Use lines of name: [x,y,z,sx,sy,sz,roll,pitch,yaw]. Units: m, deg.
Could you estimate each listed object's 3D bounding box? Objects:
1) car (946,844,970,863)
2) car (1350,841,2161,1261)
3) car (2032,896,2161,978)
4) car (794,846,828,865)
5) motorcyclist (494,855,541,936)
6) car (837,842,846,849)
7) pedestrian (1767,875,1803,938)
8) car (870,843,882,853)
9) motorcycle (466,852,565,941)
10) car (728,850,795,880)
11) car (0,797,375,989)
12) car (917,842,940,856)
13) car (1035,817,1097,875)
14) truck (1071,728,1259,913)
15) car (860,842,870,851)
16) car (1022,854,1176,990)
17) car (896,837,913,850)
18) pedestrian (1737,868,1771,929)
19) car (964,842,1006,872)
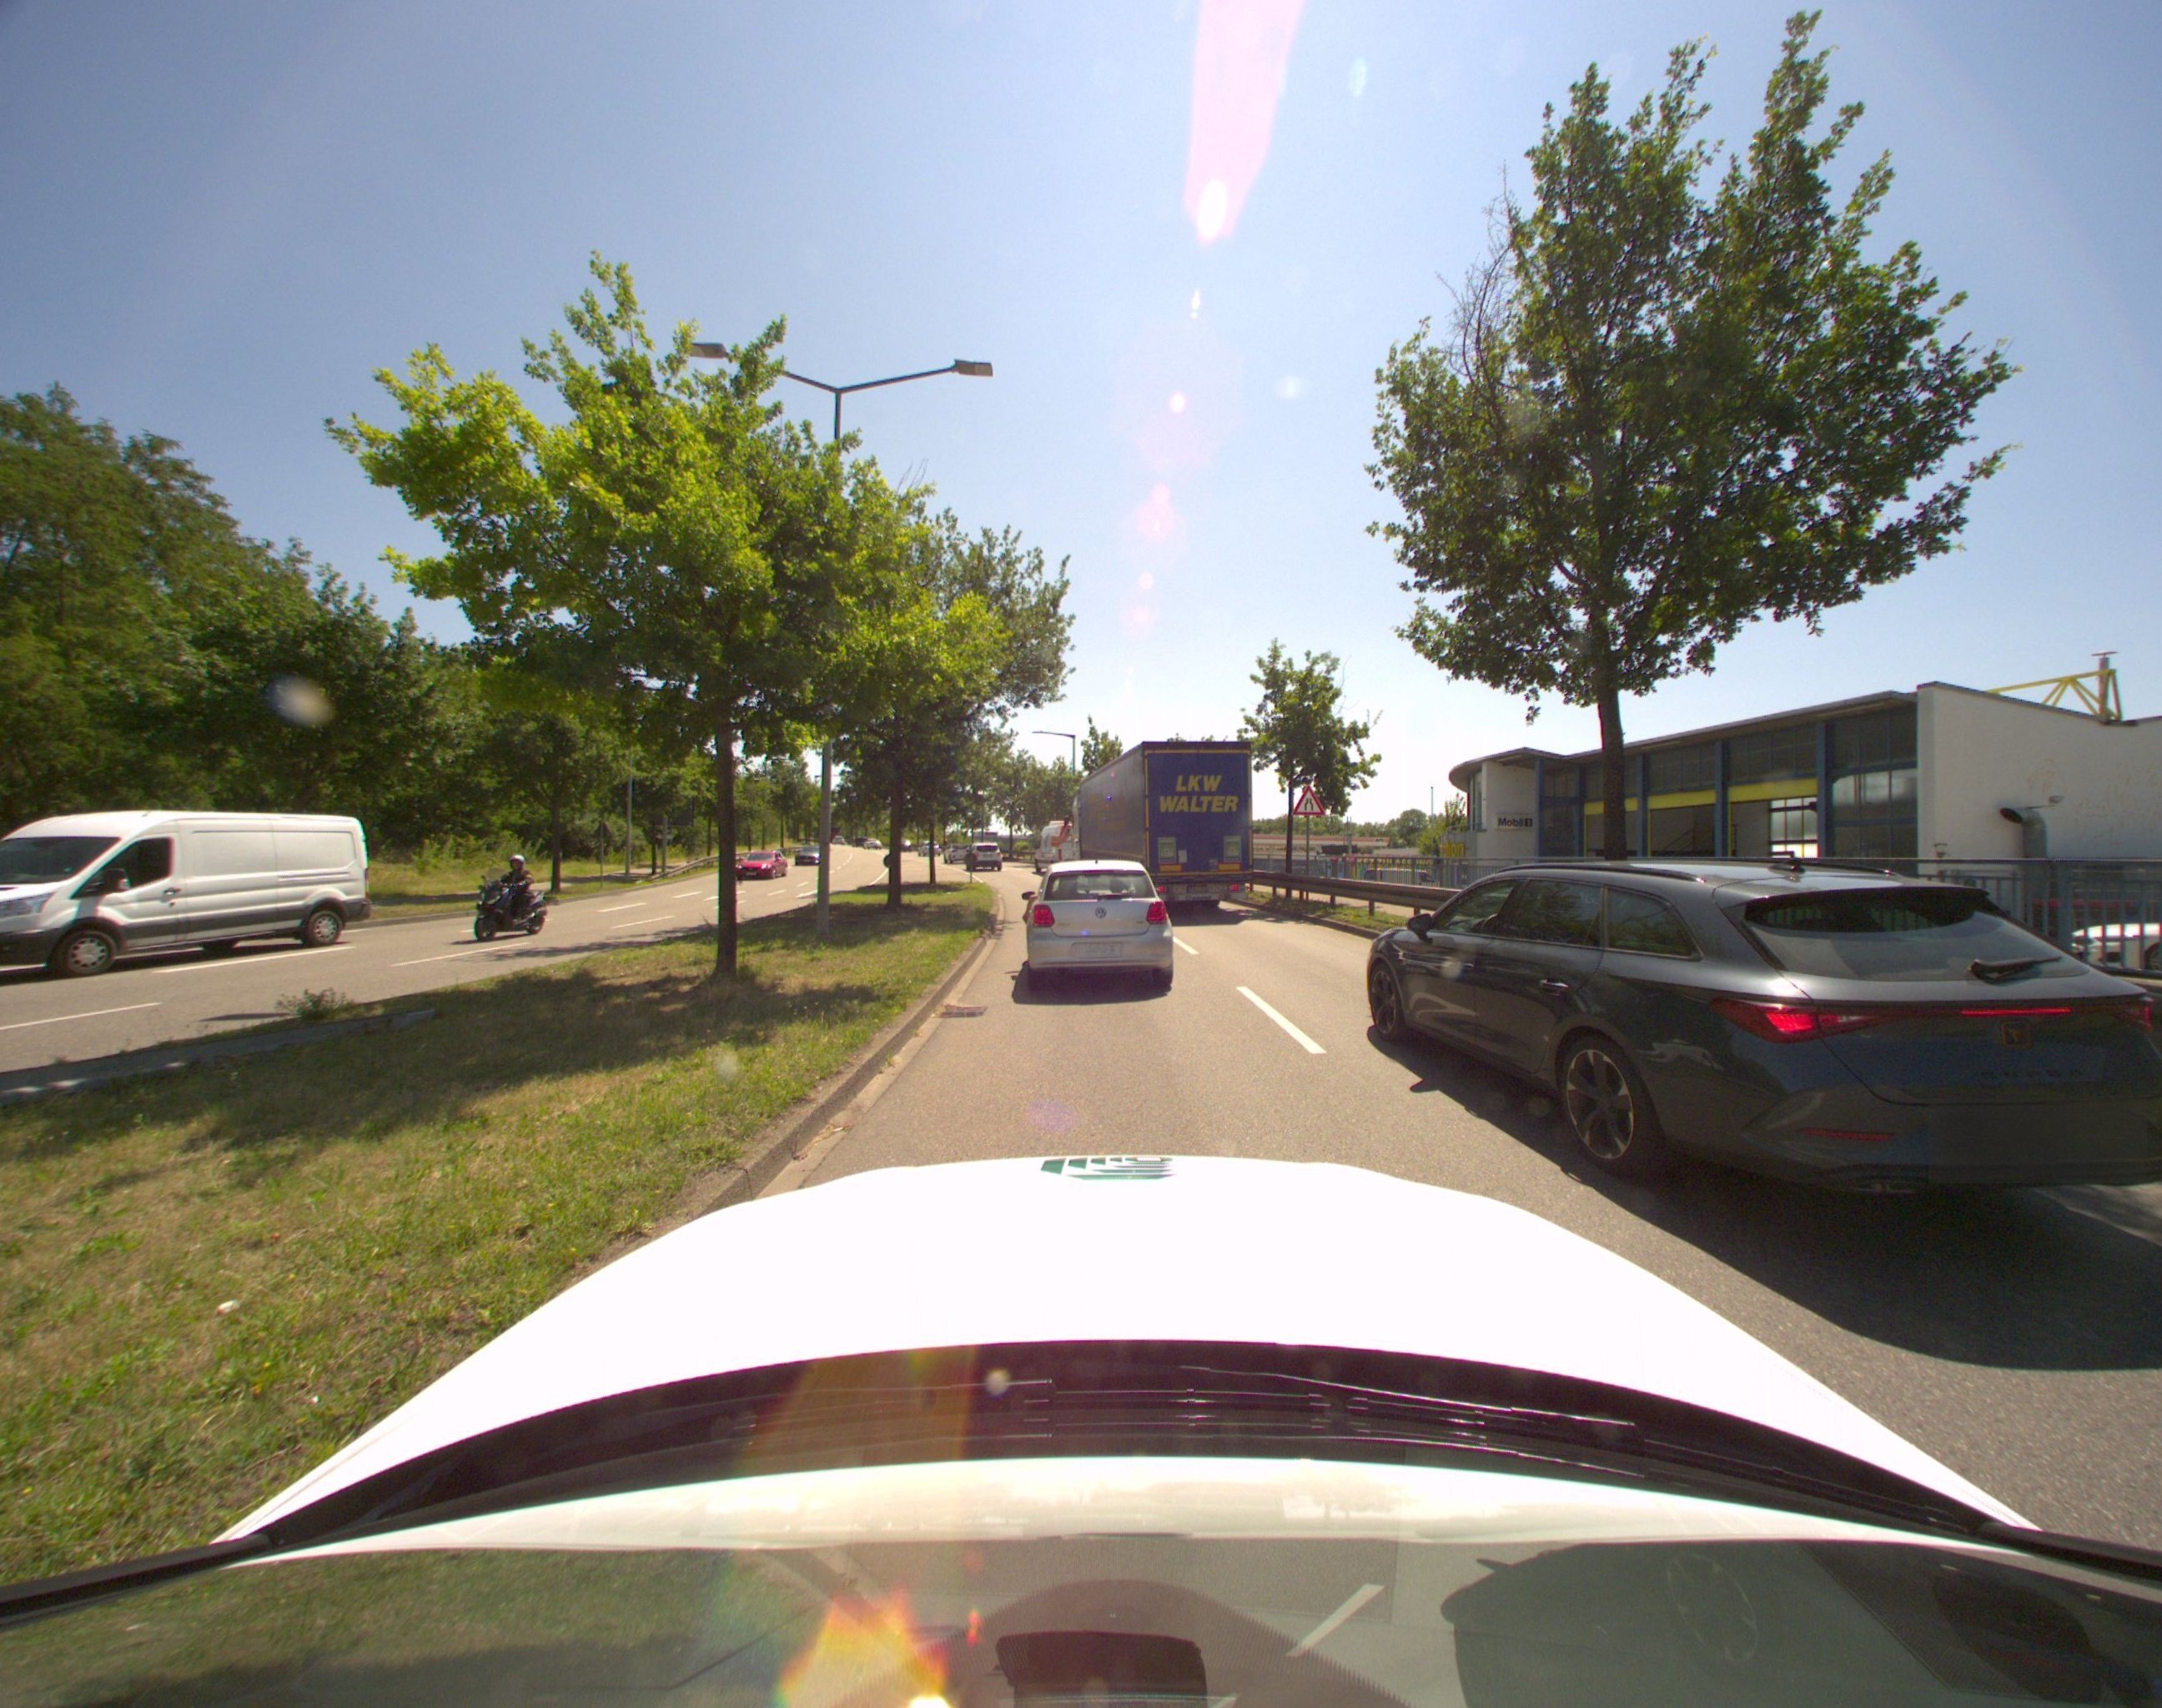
car: [-9.260,-0.019,61.087,1.497,1.360,3.645,0,0,-14]
car: [3.192,0.706,4.993,1.600,1.456,4.232,0,-1,-1]
car: [20.775,1.494,14.241,5.017,1.358,2.013,-1,-1,35]
car: [-19.769,0.123,59.759,1.810,1.333,4.550,0,-1,-12]
motorcyclist: [-11.518,0.835,16.662,0.586,1.626,0.561,0,-1,-6]
car: [-41.570,-1.475,141.375,1.325,1.139,2.977,0,-1,-18]
pedestrian: [19.232,1.425,22.246,0.425,1.703,0.588,0,-1,-5]
car: [-27.521,-0.841,109.446,1.460,1.314,3.617,0,-1,-17]
motorcycle: [-11.512,0.823,16.687,0.597,1.678,2.419,0,-1,-7]
car: [-16.787,0.560,43.086,1.826,1.437,4.522,-2,-1,-2]
car: [-15.179,0.469,13.393,2.089,2.500,5.806,-1,1,-2]
car: [-15.263,-0.507,81.381,1.614,1.360,3.635,0,0,-22]
car: [-0.931,-0.452,44.029,2.178,2.900,6.331,0,1,-12]
truck: [1.845,-0.774,26.817,2.830,4.198,16.439,0,0,-6]
car: [-32.141,-1.076,121.175,1.421,1.314,3.318,0,-1,-17]
car: [0.210,0.746,10.460,1.640,1.439,3.537,0,-1,0]
car: [-20.904,-1.184,96.449,1.669,1.465,3.560,0,-1,-17]
pedestrian: [19.075,1.262,23.082,0.520,1.703,0.487,0,-1,-4]
car: [-5.906,0.188,49.692,1.908,1.718,4.200,0,-1,-16]
